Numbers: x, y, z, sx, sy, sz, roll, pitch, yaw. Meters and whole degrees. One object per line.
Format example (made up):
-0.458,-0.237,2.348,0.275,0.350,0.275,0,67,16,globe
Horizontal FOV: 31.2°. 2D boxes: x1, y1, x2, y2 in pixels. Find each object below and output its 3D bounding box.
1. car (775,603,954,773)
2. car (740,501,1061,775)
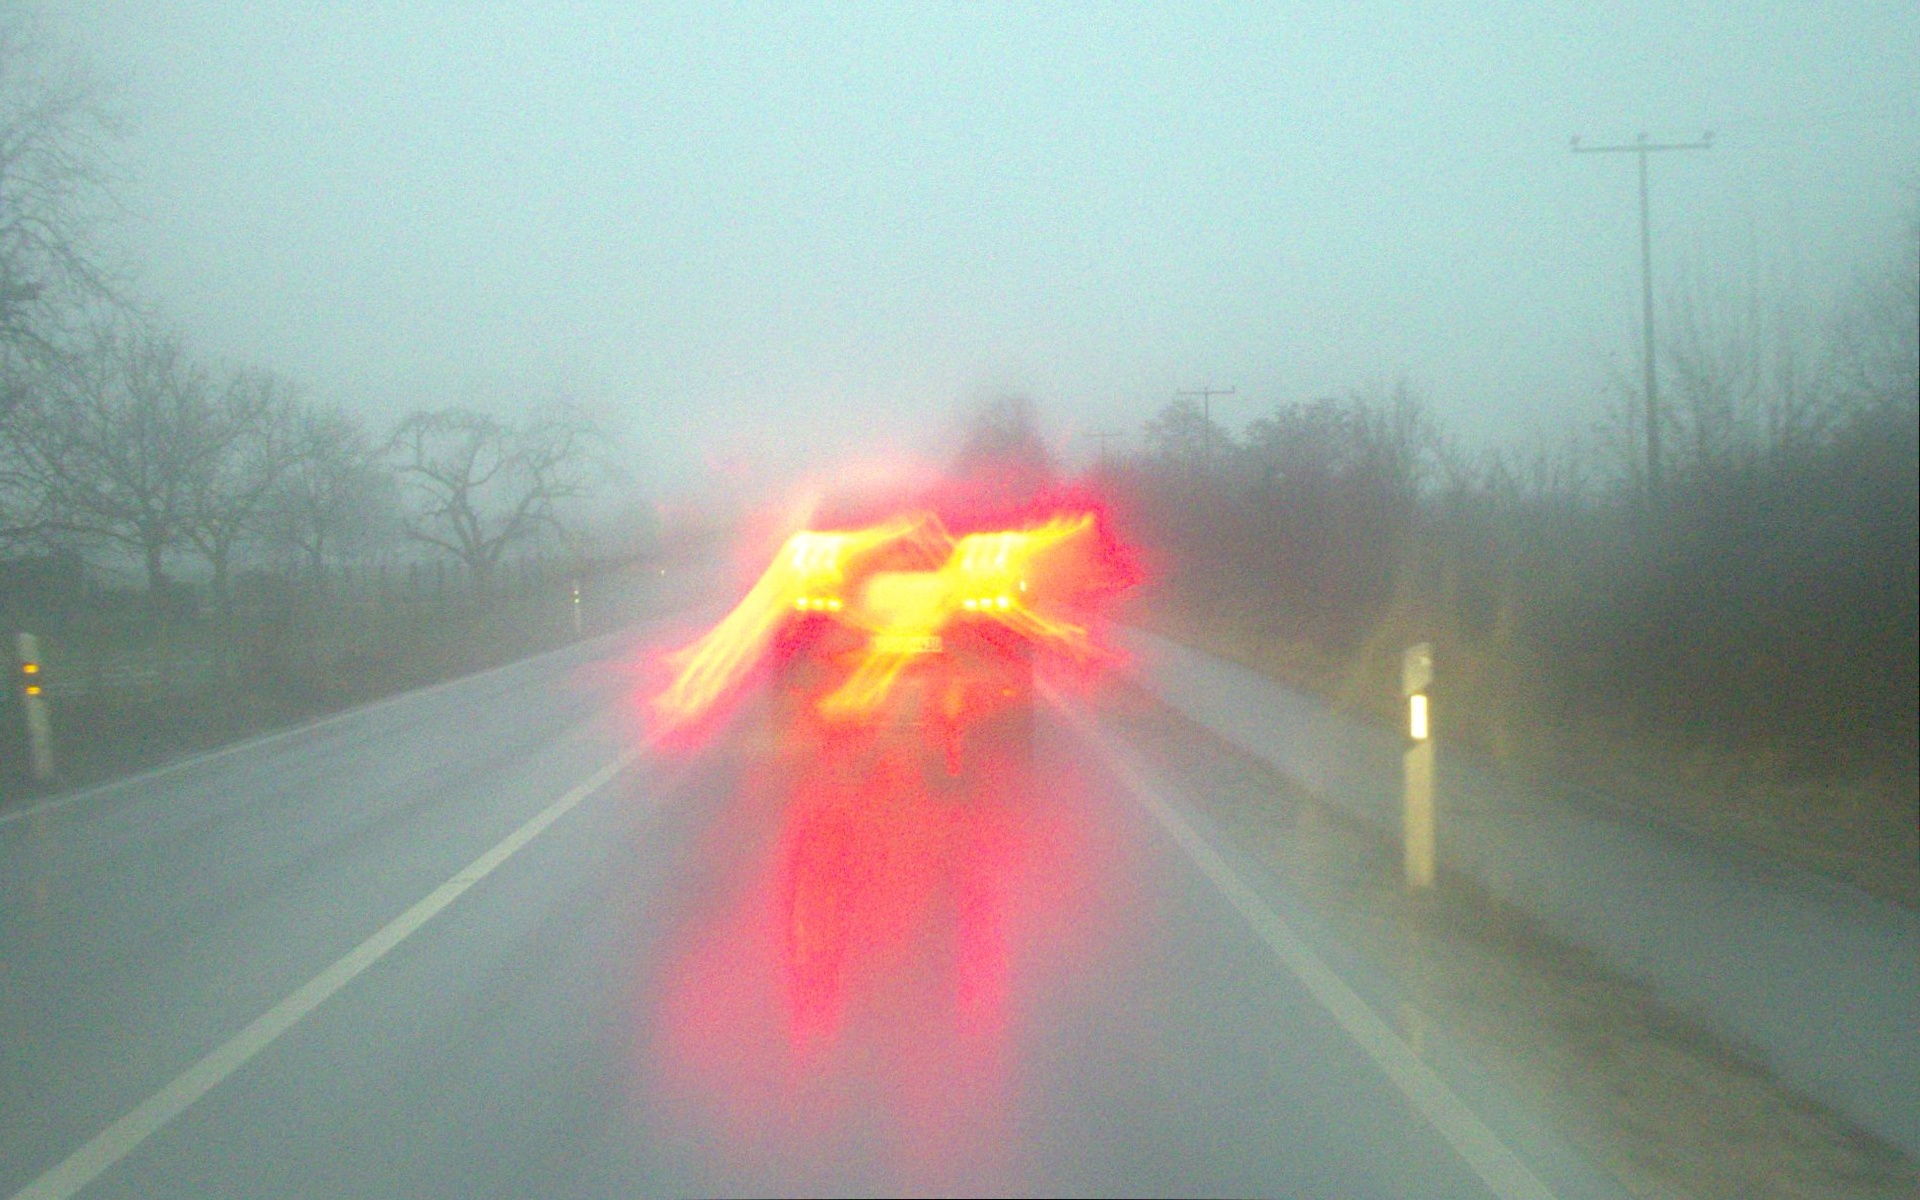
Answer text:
-1.100,0.991,40.729,1.993,1.843,4.000,1,1,-1,car
-0.424,0.209,25.272,2.120,1.813,4.980,0,1,-1,car
